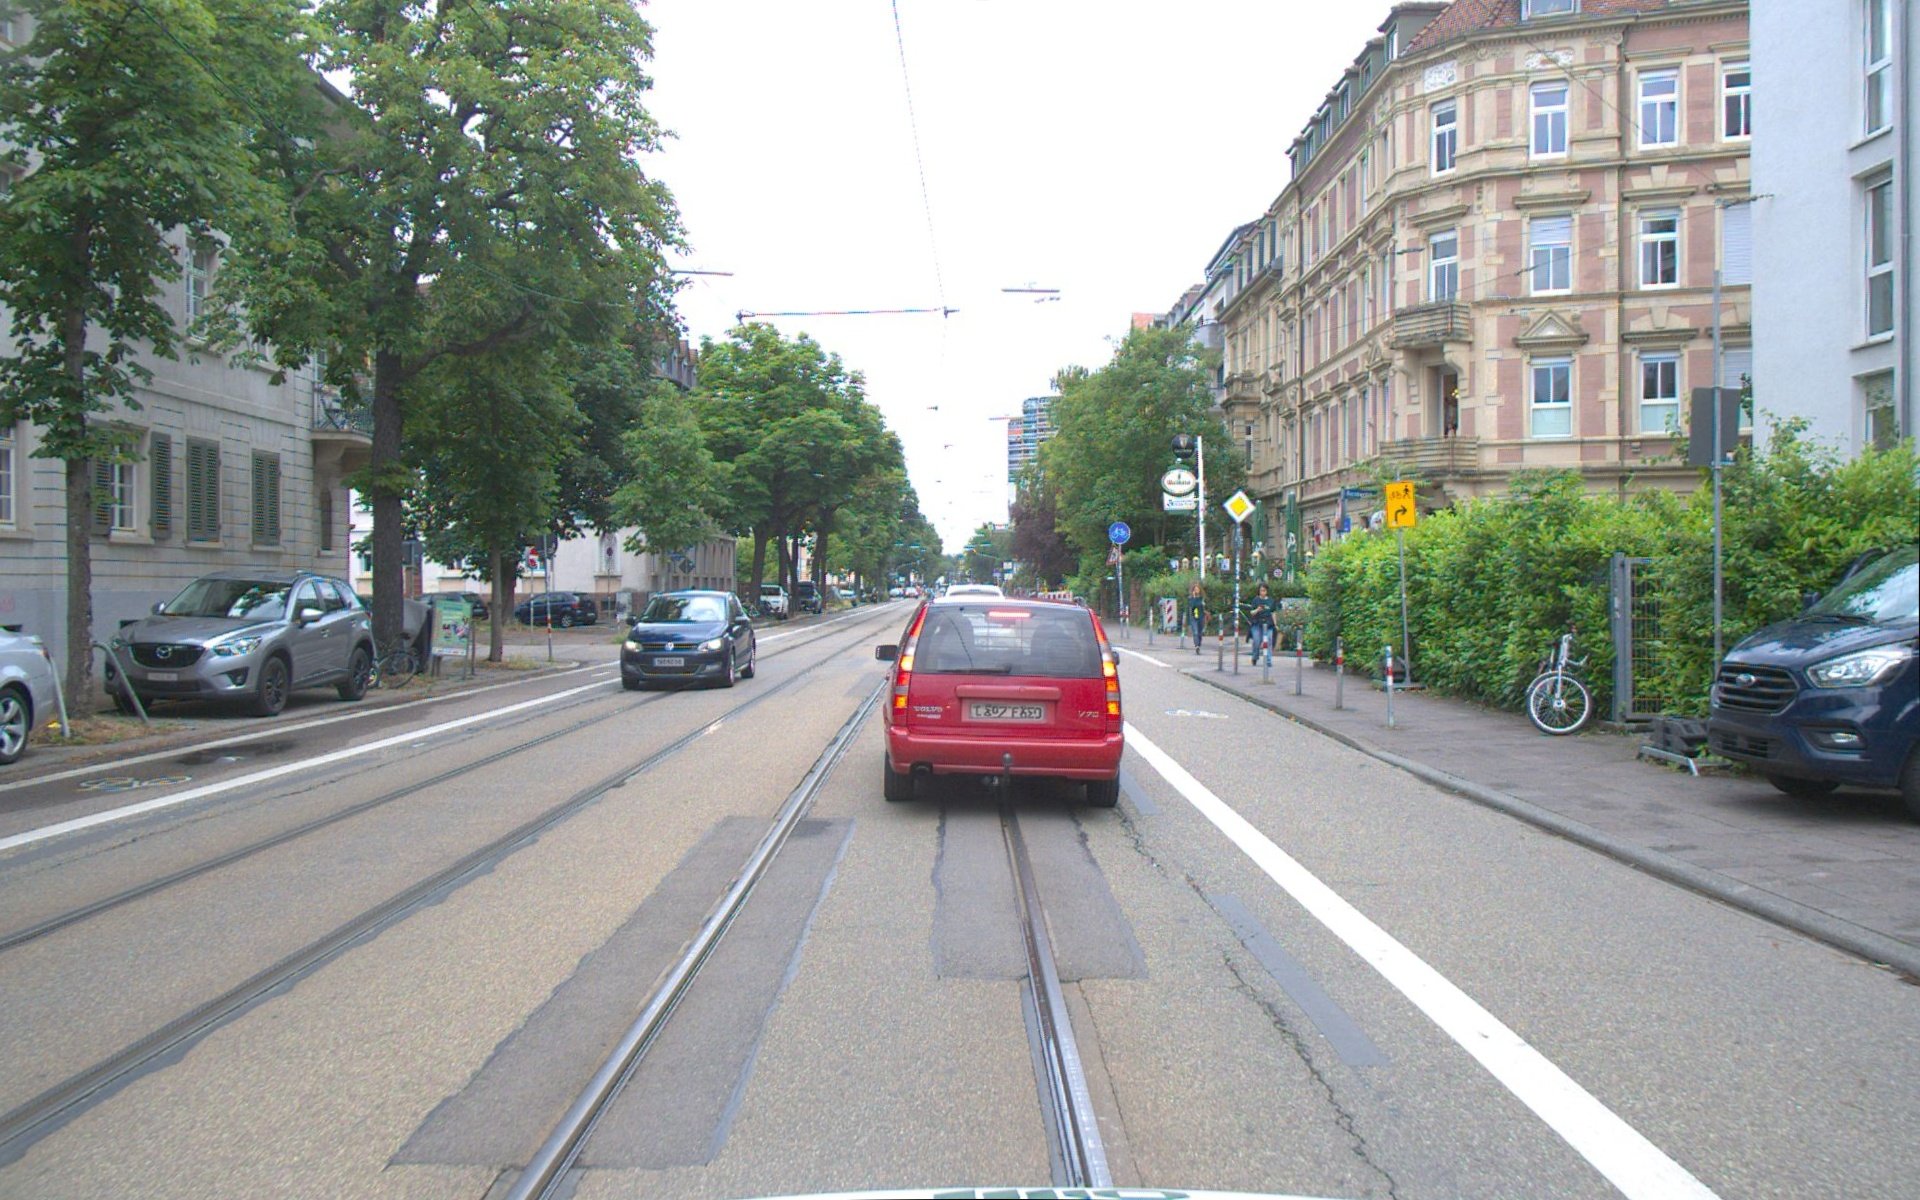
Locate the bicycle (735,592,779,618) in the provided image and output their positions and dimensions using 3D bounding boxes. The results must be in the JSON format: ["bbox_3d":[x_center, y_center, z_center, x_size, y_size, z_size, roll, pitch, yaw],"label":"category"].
[{"bbox_3d":[-9.212,0.234,74.988,1.883,1.140,0.624,1,0,-1],"label":"bicycle"}]

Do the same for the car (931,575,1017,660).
[{"bbox_3d":[0.334,0.333,34.209,1.683,1.653,3.942,0,0,2],"label":"car"}]

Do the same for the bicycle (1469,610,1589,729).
[{"bbox_3d":[6.125,0.719,17.894,0.620,1.147,1.812,-2,1,-1],"label":"bicycle"}]

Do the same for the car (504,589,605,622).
[{"bbox_3d":[-16.413,0.223,67.009,3.673,1.330,1.741,0,0,23],"label":"car"}]

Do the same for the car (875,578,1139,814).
[{"bbox_3d":[0.372,0.585,12.324,1.654,1.466,3.744,1,1,2],"label":"car"}]

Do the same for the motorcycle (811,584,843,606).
[{"bbox_3d":[-9.641,-0.373,119.961,2.226,1.538,0.923,0,-1,35],"label":"motorcycle"}]

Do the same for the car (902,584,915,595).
[{"bbox_3d":[-6.836,-1.415,220.530,1.720,1.404,4.026,0,0,-1],"label":"car"}]

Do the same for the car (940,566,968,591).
[{"bbox_3d":[-0.415,-1.421,109.981,1.706,1.634,3.998,0,0,-2],"label":"car"}]

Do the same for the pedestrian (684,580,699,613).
[{"bbox_3d":[-12.327,-0.166,75.943,0.553,1.493,0.722,-1,0,0],"label":"pedestrian"}]

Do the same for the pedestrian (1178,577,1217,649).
[{"bbox_3d":[5.619,0.292,39.133,0.854,1.684,0.909,0,0,12],"label":"pedestrian"}]

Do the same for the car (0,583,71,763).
[{"bbox_3d":[-8.809,0.615,12.472,1.775,1.491,4.613,0,1,-1],"label":"car"}]

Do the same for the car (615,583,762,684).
[{"bbox_3d":[-4.109,0.466,25.542,1.693,1.433,3.655,0,1,-1],"label":"car"}]

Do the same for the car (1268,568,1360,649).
[{"bbox_3d":[8.901,0.170,41.263,2.008,1.910,5.033,0,1,15],"label":"car"}]

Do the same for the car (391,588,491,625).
[{"bbox_3d":[-21.792,0.271,69.443,3.852,1.489,1.706,0,1,23],"label":"car"}]

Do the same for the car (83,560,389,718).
[{"bbox_3d":[-8.778,0.403,20.503,1.800,1.690,4.294,2,1,1],"label":"car"}]

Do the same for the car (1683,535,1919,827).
[{"bbox_3d":[7.493,0.457,11.395,4.192,1.840,1.824,-2,0,1],"label":"car"}]

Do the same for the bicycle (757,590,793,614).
[{"bbox_3d":[-9.423,0.095,84.366,1.706,1.213,0.653,1,1,14],"label":"bicycle"}]

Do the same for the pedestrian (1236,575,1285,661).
[{"bbox_3d":[6.019,0.353,33.149,0.777,1.665,0.836,-2,0,0],"label":"pedestrian"}]

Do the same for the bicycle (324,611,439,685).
[{"bbox_3d":[-8.749,0.715,25.055,1.347,1.022,0.930,3,1,4],"label":"bicycle"}]

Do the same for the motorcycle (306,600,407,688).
[{"bbox_3d":[-8.818,0.630,24.191,1.258,1.243,0.548,1,0,6],"label":"motorcycle"}]

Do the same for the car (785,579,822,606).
[{"bbox_3d":[-9.250,-0.442,97.963,1.740,1.537,4.238,0,0,1],"label":"car"}]

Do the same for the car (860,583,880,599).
[{"bbox_3d":[-8.944,-0.863,165.119,1.813,1.590,3.942,0,0,0],"label":"car"}]

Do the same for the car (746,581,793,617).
[{"bbox_3d":[-9.073,-0.073,79.059,1.858,1.684,4.224,0,0,-1],"label":"car"}]

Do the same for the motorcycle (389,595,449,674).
[{"bbox_3d":[-9.155,0.562,28.048,0.529,1.279,2.139,0,0,-7],"label":"motorcycle"}]
